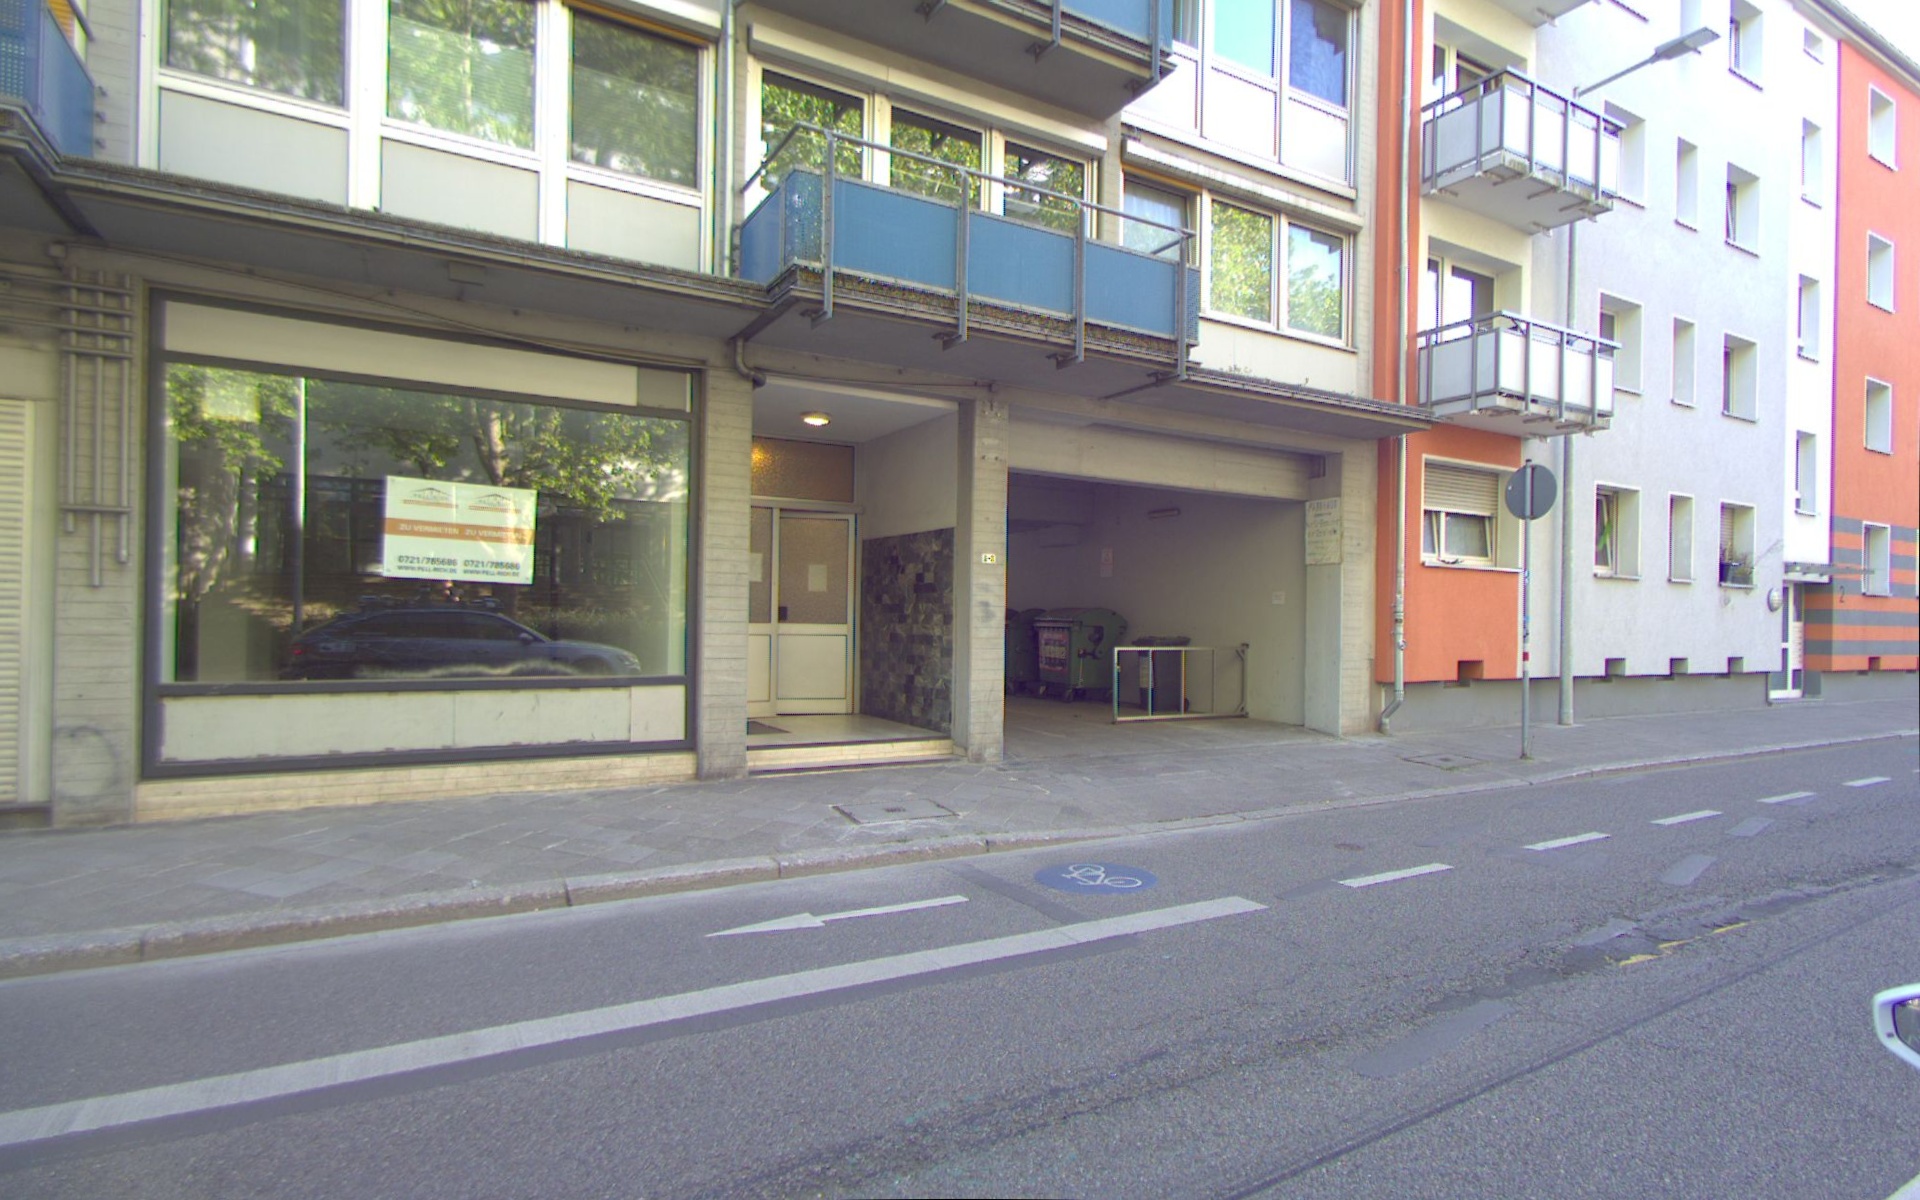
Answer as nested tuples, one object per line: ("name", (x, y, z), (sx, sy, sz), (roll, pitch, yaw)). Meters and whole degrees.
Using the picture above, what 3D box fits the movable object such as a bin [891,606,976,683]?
("movable object such as a bin", (-0.536, 0.863, 19.934), (1.182, 1.452, 1.300), (2, 0, -30))

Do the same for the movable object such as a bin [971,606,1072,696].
("movable object such as a bin", (1.044, 0.851, 17.196), (1.182, 1.452, 1.300), (2, 0, -30))

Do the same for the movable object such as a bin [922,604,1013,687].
("movable object such as a bin", (0.132, 0.832, 18.770), (1.182, 1.452, 1.300), (2, 0, -30))

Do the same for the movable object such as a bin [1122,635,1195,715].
("movable object such as a bin", (2.862, 1.063, 14.526), (0.707, 1.089, 0.735), (2, 0, -30))

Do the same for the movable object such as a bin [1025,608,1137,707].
("movable object such as a bin", (1.885, 0.870, 15.809), (1.182, 1.452, 1.300), (2, 0, -30))
